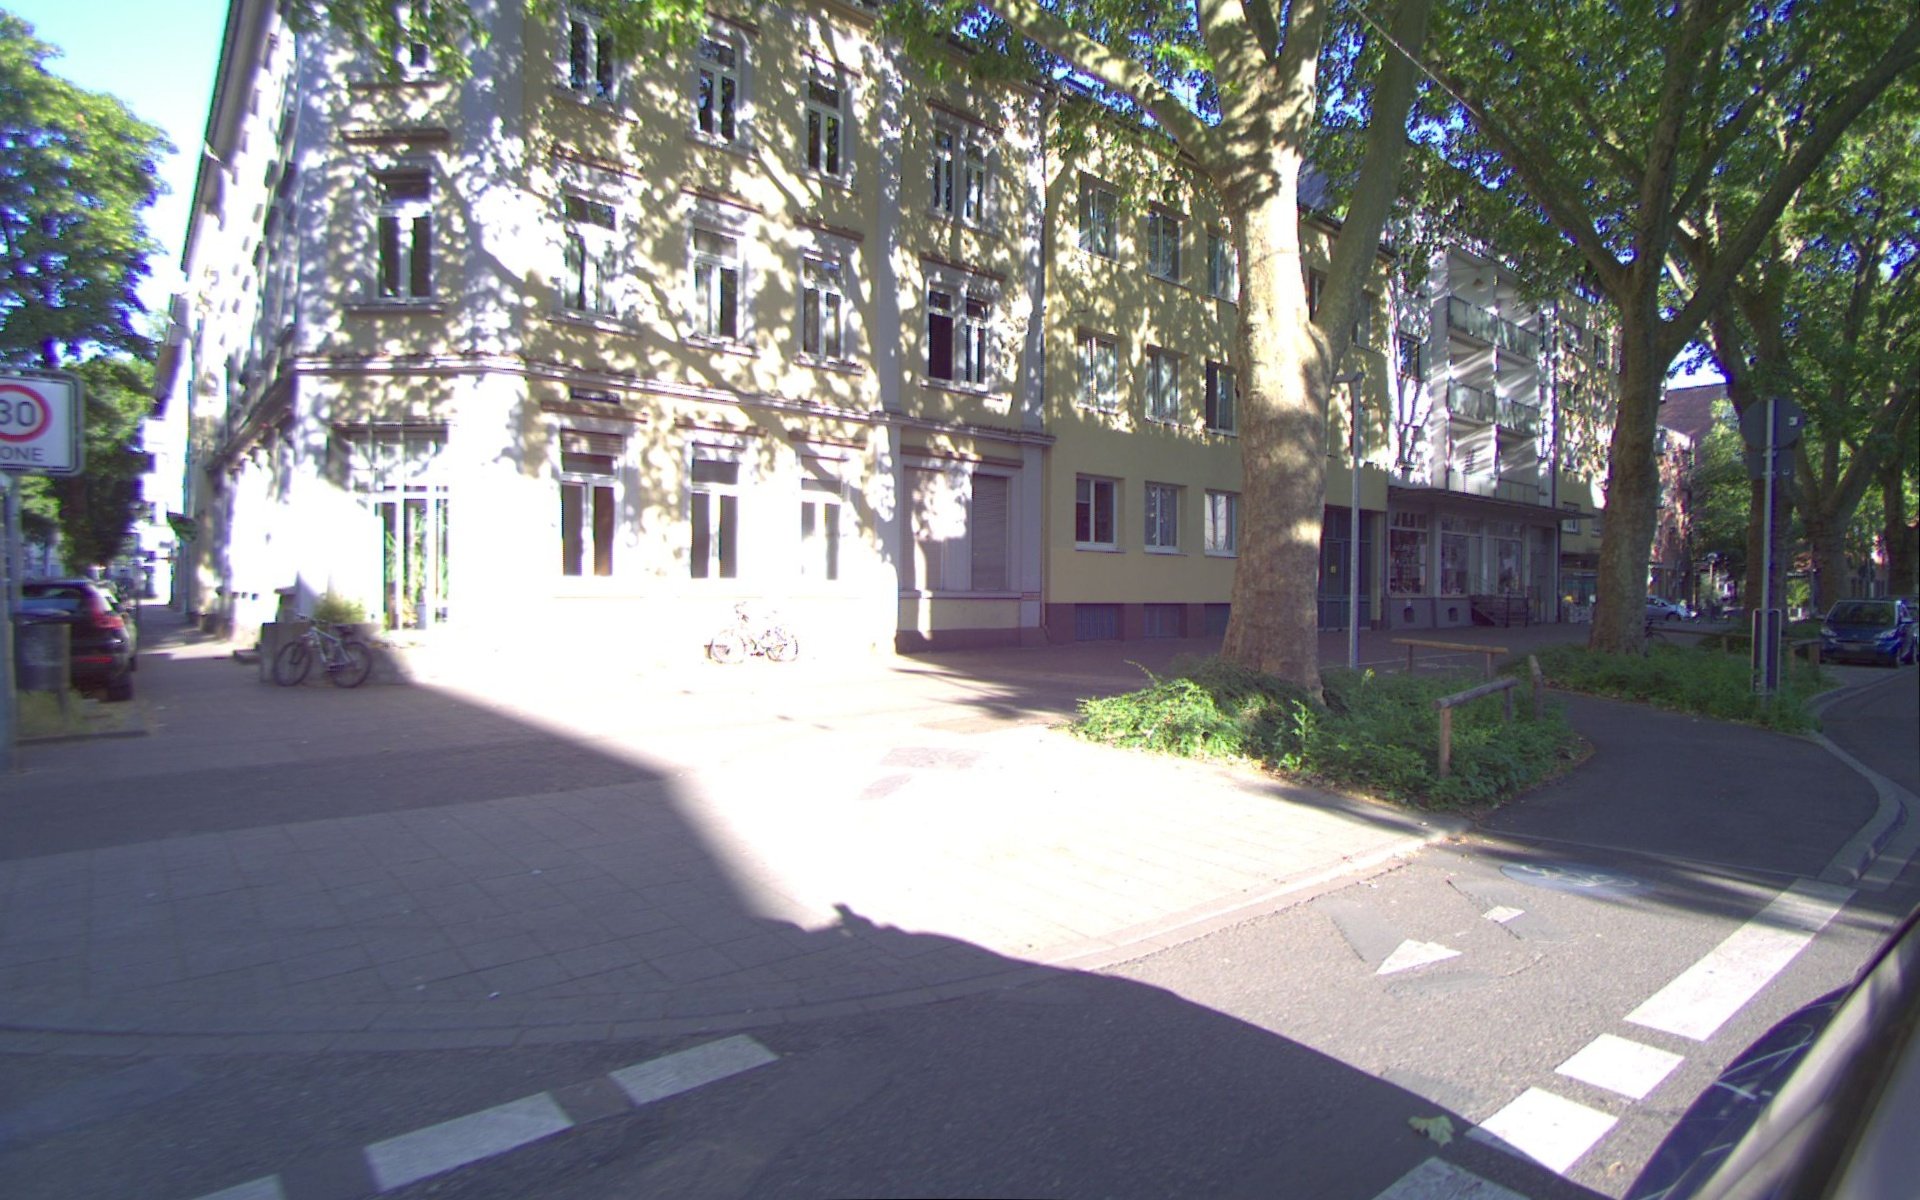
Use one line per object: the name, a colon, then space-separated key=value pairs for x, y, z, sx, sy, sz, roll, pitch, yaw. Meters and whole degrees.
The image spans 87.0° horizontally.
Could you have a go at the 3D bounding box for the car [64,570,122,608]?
car: x=-44.314 y=-0.551 z=51.804 sx=1.963 sy=1.813 sz=4.142 roll=3 pitch=-1 yaw=-38

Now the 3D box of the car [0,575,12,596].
car: x=-75.830 y=-1.168 z=79.438 sx=1.966 sy=1.627 sz=4.136 roll=3 pitch=-1 yaw=-43

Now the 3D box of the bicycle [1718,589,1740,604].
bicycle: x=63.951 y=-0.297 z=84.136 sx=1.997 sy=1.171 sz=0.709 roll=0 pitch=2 yaw=-31

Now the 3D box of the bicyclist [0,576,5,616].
bicyclist: x=-35.026 y=-0.160 z=36.535 sx=0.732 sy=1.418 sz=0.660 roll=0 pitch=2 yaw=-40

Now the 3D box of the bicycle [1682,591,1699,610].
bicycle: x=46.850 y=0.010 z=64.896 sx=0.600 sy=1.171 sz=1.670 roll=3 pitch=3 yaw=45

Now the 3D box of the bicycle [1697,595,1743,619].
bicycle: x=39.793 y=0.341 z=53.031 sx=1.781 sy=1.171 sz=0.738 roll=2 pitch=2 yaw=28

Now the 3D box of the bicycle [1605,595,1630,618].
bicycle: x=29.746 y=0.282 z=45.783 sx=0.570 sy=1.009 sz=1.752 roll=3 pitch=3 yaw=44

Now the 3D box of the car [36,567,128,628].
car: x=-28.680 y=-0.070 z=33.186 sx=1.963 sy=1.813 sz=4.142 roll=3 pitch=-1 yaw=-38

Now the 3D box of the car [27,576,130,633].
car: x=-25.677 y=0.121 z=29.602 sx=1.963 sy=1.523 sz=4.142 roll=3 pitch=-1 yaw=-38

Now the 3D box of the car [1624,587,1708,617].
car: x=42.773 y=0.099 z=61.376 sx=1.833 sy=1.714 sz=3.869 roll=0 pitch=1 yaw=-40

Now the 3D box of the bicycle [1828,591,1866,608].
bicycle: x=67.409 y=-0.035 z=76.944 sx=0.560 sy=1.171 sz=2.040 roll=0 pitch=2 yaw=-30

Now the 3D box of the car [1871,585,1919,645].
car: x=28.790 y=0.417 z=30.219 sx=4.701 sy=1.623 sz=1.861 roll=-1 pitch=3 yaw=-42

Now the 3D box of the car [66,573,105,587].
car: x=-124.897 y=-2.782 z=144.570 sx=4.071 sy=1.813 sz=1.997 roll=3 pitch=-2 yaw=-41

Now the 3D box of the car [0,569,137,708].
car: x=-12.242 y=0.426 z=13.452 sx=1.965 sy=1.613 sz=4.139 roll=0 pitch=1 yaw=-40

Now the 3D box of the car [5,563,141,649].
car: x=-19.015 y=0.133 z=21.674 sx=1.966 sy=1.657 sz=4.136 roll=3 pitch=-1 yaw=-43

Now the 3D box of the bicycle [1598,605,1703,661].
bicycle: x=14.807 y=0.684 z=21.767 sx=0.500 sy=1.018 sz=1.975 roll=1 pitch=3 yaw=-15

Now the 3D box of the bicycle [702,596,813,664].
bicycle: x=-3.586 y=0.502 z=18.052 sx=1.889 sy=1.117 sz=0.583 roll=0 pitch=2 yaw=-41

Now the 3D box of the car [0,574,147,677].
car: x=-15.431 y=0.357 z=17.389 sx=1.967 sy=1.523 sz=4.136 roll=-2 pitch=2 yaw=-43

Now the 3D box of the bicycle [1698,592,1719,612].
bicycle: x=47.087 y=0.122 z=63.646 sx=1.666 sy=1.171 sz=0.601 roll=0 pitch=2 yaw=-38

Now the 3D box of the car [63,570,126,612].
car: x=-40.550 y=-0.401 z=47.521 sx=1.963 sy=1.813 sz=4.142 roll=3 pitch=-1 yaw=-38

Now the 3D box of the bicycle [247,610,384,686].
bicycle: x=-9.104 y=0.664 z=14.306 sx=1.808 sy=1.020 sz=0.567 roll=-1 pitch=0 yaw=15

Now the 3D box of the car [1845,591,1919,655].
car: x=24.780 y=0.553 z=26.662 sx=4.528 sy=1.453 sz=1.818 roll=-2 pitch=3 yaw=-44

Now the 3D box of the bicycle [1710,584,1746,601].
bicycle: x=54.355 y=-0.541 z=71.631 sx=0.560 sy=1.171 sz=1.939 roll=1 pitch=2 yaw=-24

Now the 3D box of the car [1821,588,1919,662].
car: x=21.500 y=0.523 z=23.634 sx=2.858 sy=1.537 sz=1.568 roll=-1 pitch=3 yaw=-38
